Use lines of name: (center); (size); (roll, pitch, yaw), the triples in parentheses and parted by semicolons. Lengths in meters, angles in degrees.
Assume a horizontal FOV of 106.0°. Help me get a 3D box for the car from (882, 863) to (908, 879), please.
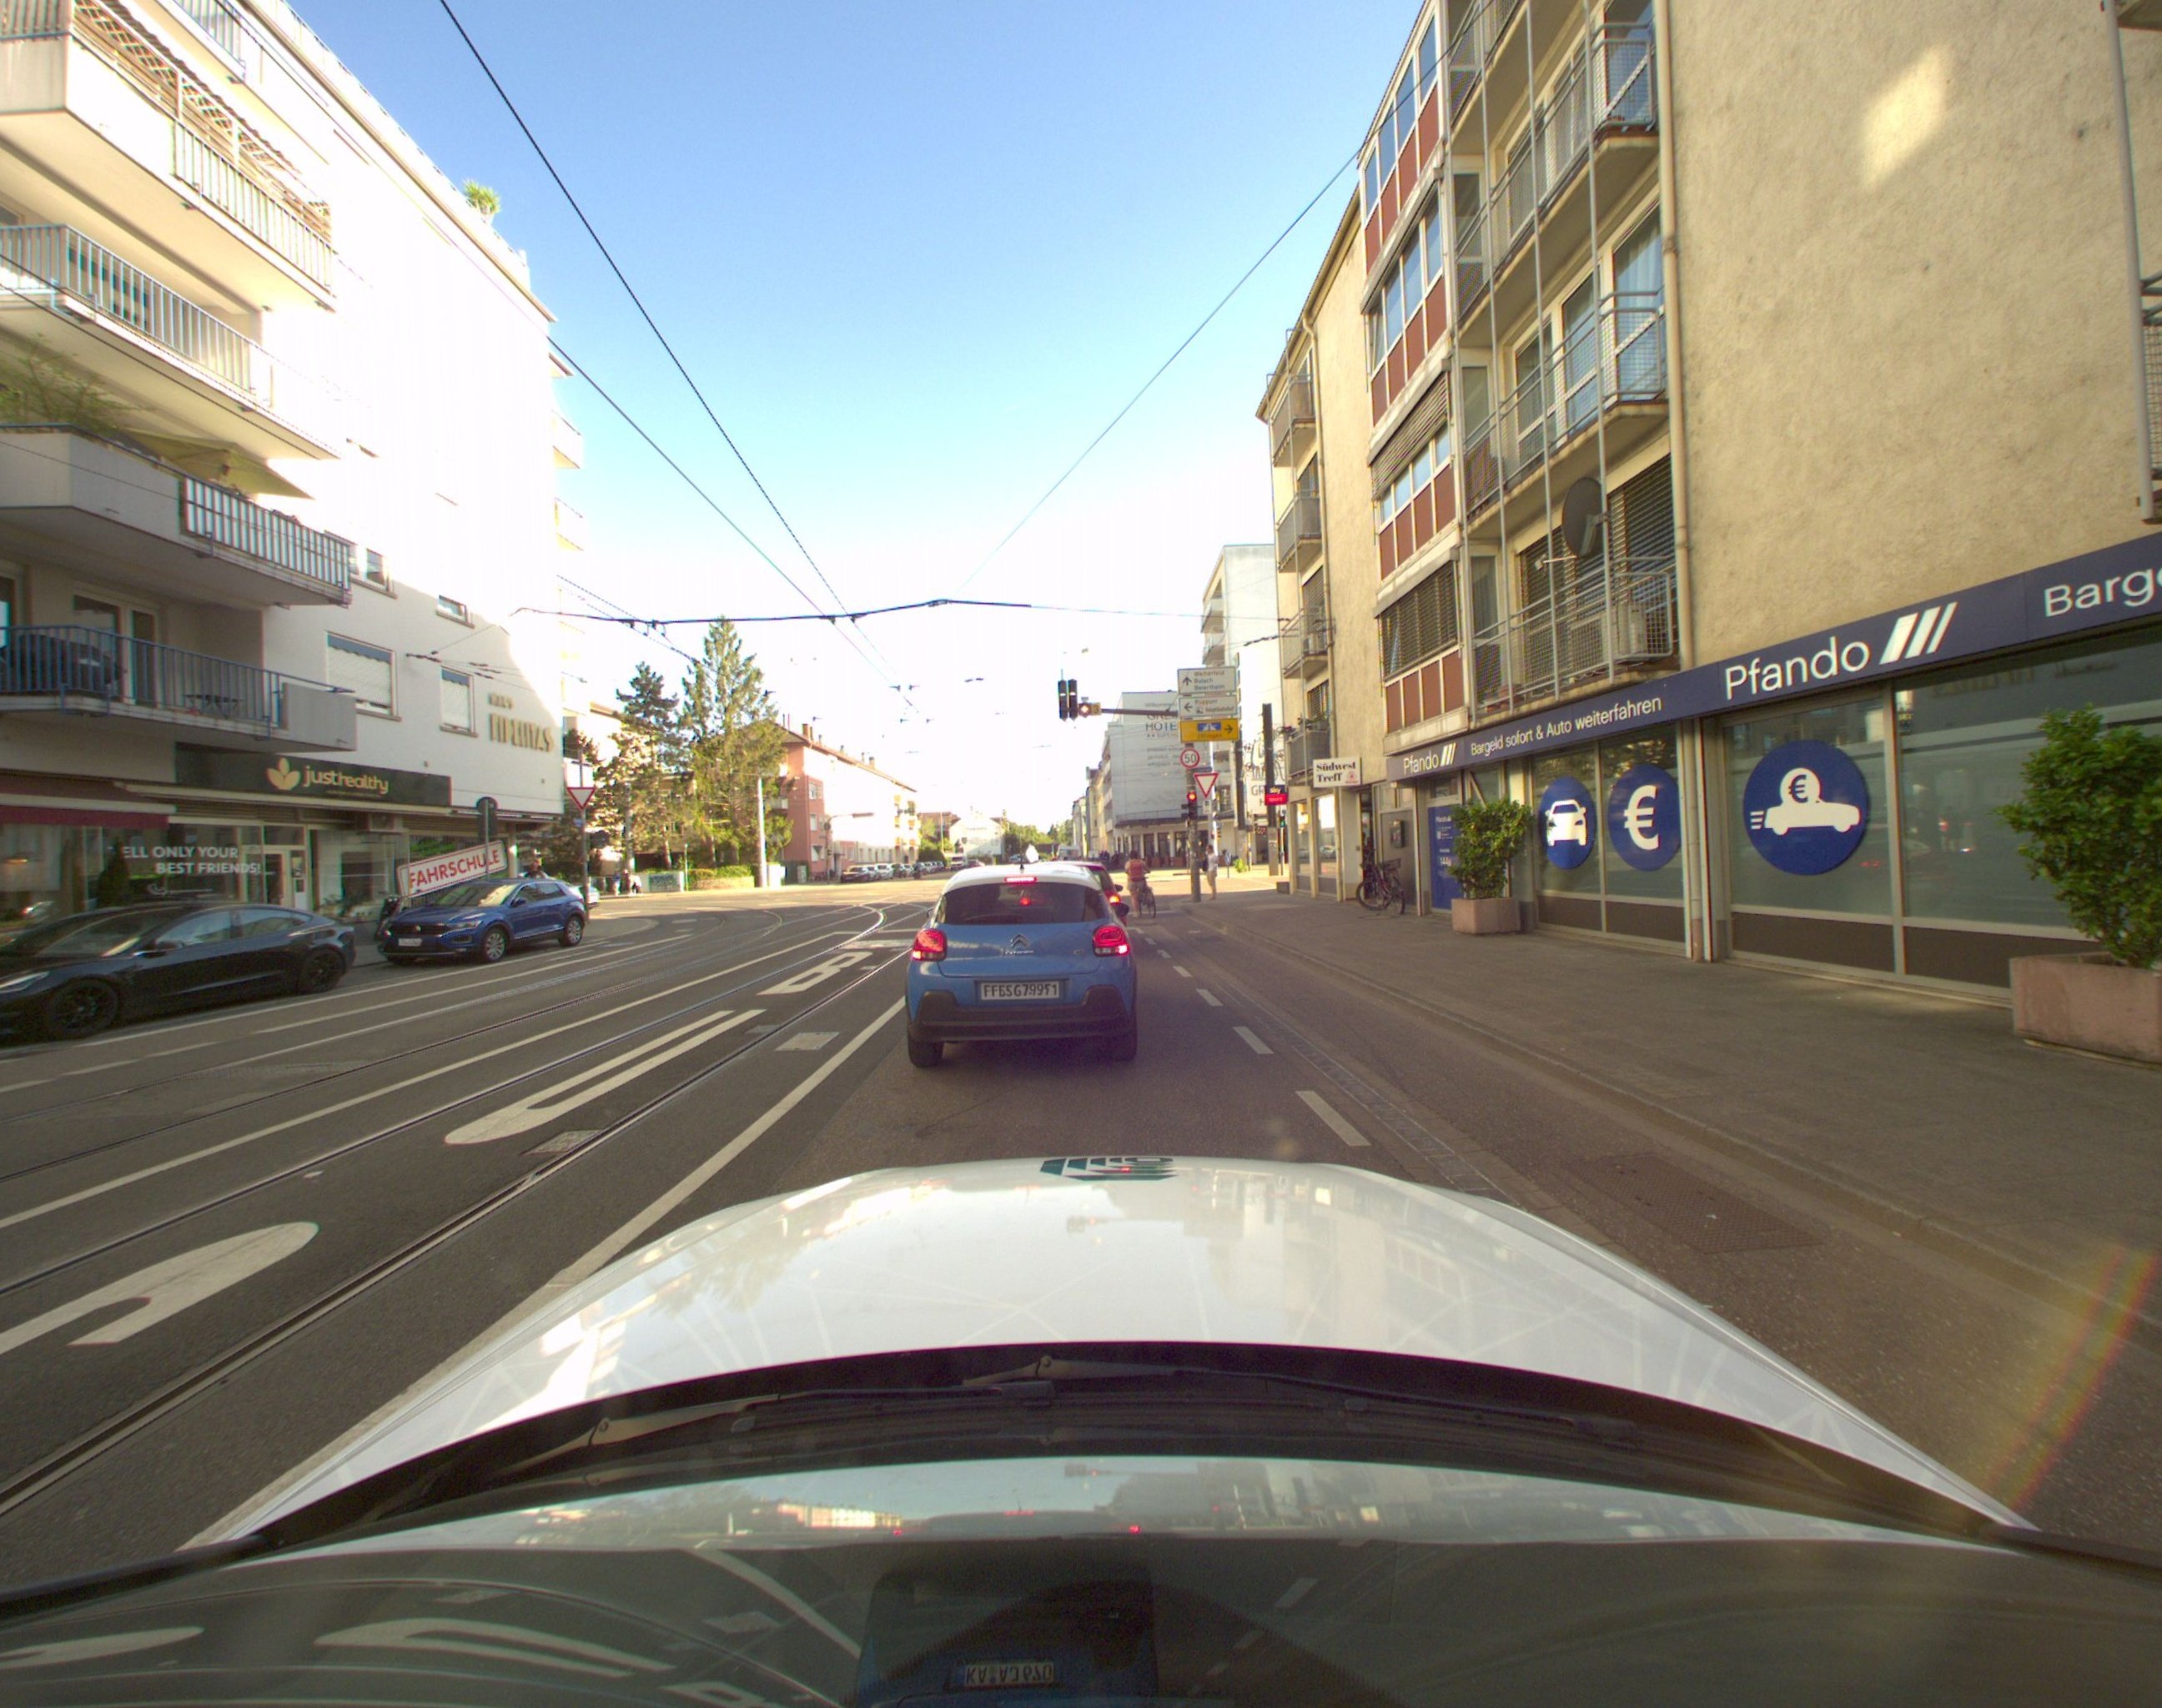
car: (-19.731, 1.743, 86.533); (1.947, 1.519, 3.995); (-2, 0, -4)

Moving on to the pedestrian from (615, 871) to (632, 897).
pedestrian: (-30.320, 1.969, 53.988); (0.812, 1.702, 0.629); (-2, 0, -22)

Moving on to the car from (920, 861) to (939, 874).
car: (-20.300, 1.779, 109.332); (1.947, 1.519, 3.995); (-2, 0, -4)

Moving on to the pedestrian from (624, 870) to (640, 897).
pedestrian: (-29.673, 1.944, 53.794); (0.812, 1.702, 0.602); (-2, 0, -22)

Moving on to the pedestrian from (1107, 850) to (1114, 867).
pedestrian: (2.522, 0.383, 70.123); (0.467, 1.420, 0.524); (-2, 0, -11)

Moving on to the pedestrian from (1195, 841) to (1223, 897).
pedestrian: (3.839, 0.452, 24.421); (0.747, 1.635, 0.742); (-2, 0, 7)

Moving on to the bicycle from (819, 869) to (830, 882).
bicycle: (-21.597, 1.795, 68.476); (0.537, 1.082, 1.905); (-2, 0, -9)

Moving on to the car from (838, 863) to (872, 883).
car: (-19.292, 1.602, 69.624); (1.947, 1.519, 3.995); (-2, 0, -4)

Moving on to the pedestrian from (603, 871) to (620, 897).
pedestrian: (-32.116, 2.040, 55.701); (0.810, 1.702, 0.677); (-2, 0, -15)

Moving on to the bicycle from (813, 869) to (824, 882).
bicycle: (-21.975, 1.796, 68.191); (0.537, 1.082, 1.905); (-2, 0, -9)

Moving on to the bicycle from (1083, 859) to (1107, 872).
bicycle: (1.159, 0.956, 68.449); (1.901, 1.064, 0.641); (-2, 0, -6)

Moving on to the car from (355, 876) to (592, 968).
car: (-11.878, 1.240, 16.330); (1.720, 1.505, 4.113); (0, 0, -2)

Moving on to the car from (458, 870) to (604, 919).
car: (-22.157, 1.621, 32.935); (4.524, 1.684, 1.790); (-2, 0, -3)

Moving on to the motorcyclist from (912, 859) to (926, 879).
motorcyclist: (-13.475, 1.272, 67.698); (0.990, 1.631, 0.737); (-2, 0, -7)

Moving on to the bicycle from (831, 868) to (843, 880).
bicycle: (-22.718, 1.863, 75.807); (0.608, 1.082, 1.908); (-2, 0, -4)

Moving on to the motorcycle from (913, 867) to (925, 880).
motorcycle: (-13.485, 1.599, 67.765); (0.751, 0.976, 2.092); (-2, 0, -7)

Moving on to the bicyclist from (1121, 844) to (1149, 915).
bicyclist: (1.369, 0.630, 20.699); (0.598, 1.746, 1.084); (-2, 0, 2)

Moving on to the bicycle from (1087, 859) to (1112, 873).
bicycle: (1.524, 0.964, 67.247); (1.901, 1.064, 0.641); (-2, 0, -6)

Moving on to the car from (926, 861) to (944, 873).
car: (-20.728, 1.859, 115.688); (1.947, 1.519, 3.995); (-2, 0, -4)

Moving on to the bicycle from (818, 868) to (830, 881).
bicycle: (-23.051, 1.844, 73.111); (0.536, 1.082, 1.908); (-2, 0, -4)

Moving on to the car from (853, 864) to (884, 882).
car: (-19.572, 1.720, 75.248); (1.947, 1.519, 4.040); (-2, 0, -4)

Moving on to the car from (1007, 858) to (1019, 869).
car: (-14.270, 1.993, 171.415); (2.333, 2.039, 5.044); (-2, 0, -4)

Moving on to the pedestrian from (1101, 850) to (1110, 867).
pedestrian: (2.102, 0.399, 70.384); (0.520, 1.420, 0.550); (-3, 0, 22)

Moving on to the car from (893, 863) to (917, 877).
car: (-19.983, 1.794, 92.600); (1.947, 1.519, 3.995); (-2, 0, -4)

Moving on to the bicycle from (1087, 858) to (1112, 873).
bicycle: (1.515, 0.933, 65.940); (1.901, 1.064, 0.641); (-2, 0, -6)

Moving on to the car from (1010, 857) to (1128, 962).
car: (-0.226, 0.807, 13.713); (1.675, 1.462, 3.997); (-1, 0, -2)

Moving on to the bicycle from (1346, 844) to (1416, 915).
bicycle: (5.759, 0.454, 15.745); (0.637, 1.264, 1.911); (-2, 0, 2)

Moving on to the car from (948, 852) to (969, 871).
car: (-18.129, 1.111, 120.580); (2.489, 2.712, 5.828); (-2, 0, -5)

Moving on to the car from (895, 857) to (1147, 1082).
car: (-0.451, 0.787, 7.504); (1.675, 1.462, 3.997); (-1, 0, -2)

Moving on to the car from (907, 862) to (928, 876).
car: (-19.854, 1.790, 99.029); (1.947, 1.519, 3.995); (-2, 0, -4)

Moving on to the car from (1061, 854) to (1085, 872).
car: (-0.717, 0.745, 67.991); (1.783, 1.359, 3.909); (-2, 0, -4)

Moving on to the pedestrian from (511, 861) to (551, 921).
pedestrian: (-17.287, 1.167, 25.600); (0.761, 1.834, 0.725); (-3, 0, 28)

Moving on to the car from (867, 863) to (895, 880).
car: (-19.561, 1.687, 79.860); (1.947, 1.519, 3.995); (-2, 0, -4)

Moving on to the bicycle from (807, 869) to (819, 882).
bicycle: (-22.381, 1.795, 68.082); (0.640, 1.082, 1.905); (-2, 0, -9)

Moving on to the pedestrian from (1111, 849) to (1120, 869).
pedestrian: (3.024, 0.430, 70.664); (0.556, 1.647, 0.534); (-2, 0, -26)

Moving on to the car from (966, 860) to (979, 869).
car: (-19.341, 1.827, 145.249); (1.947, 1.519, 3.995); (-2, 0, -4)

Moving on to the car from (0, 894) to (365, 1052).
car: (-11.983, 1.326, 10.427); (1.720, 1.403, 4.486); (0, 0, -2)

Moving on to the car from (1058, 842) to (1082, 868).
car: (-1.040, 0.090, 73.452); (2.074, 2.269, 5.647); (-1, 0, -2)

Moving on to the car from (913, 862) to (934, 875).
car: (-20.100, 1.806, 104.043); (1.947, 1.519, 3.995); (-2, 0, -4)

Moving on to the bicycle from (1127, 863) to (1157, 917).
bicycle: (1.533, 0.885, 20.732); (0.611, 1.264, 1.911); (-2, 0, 2)
